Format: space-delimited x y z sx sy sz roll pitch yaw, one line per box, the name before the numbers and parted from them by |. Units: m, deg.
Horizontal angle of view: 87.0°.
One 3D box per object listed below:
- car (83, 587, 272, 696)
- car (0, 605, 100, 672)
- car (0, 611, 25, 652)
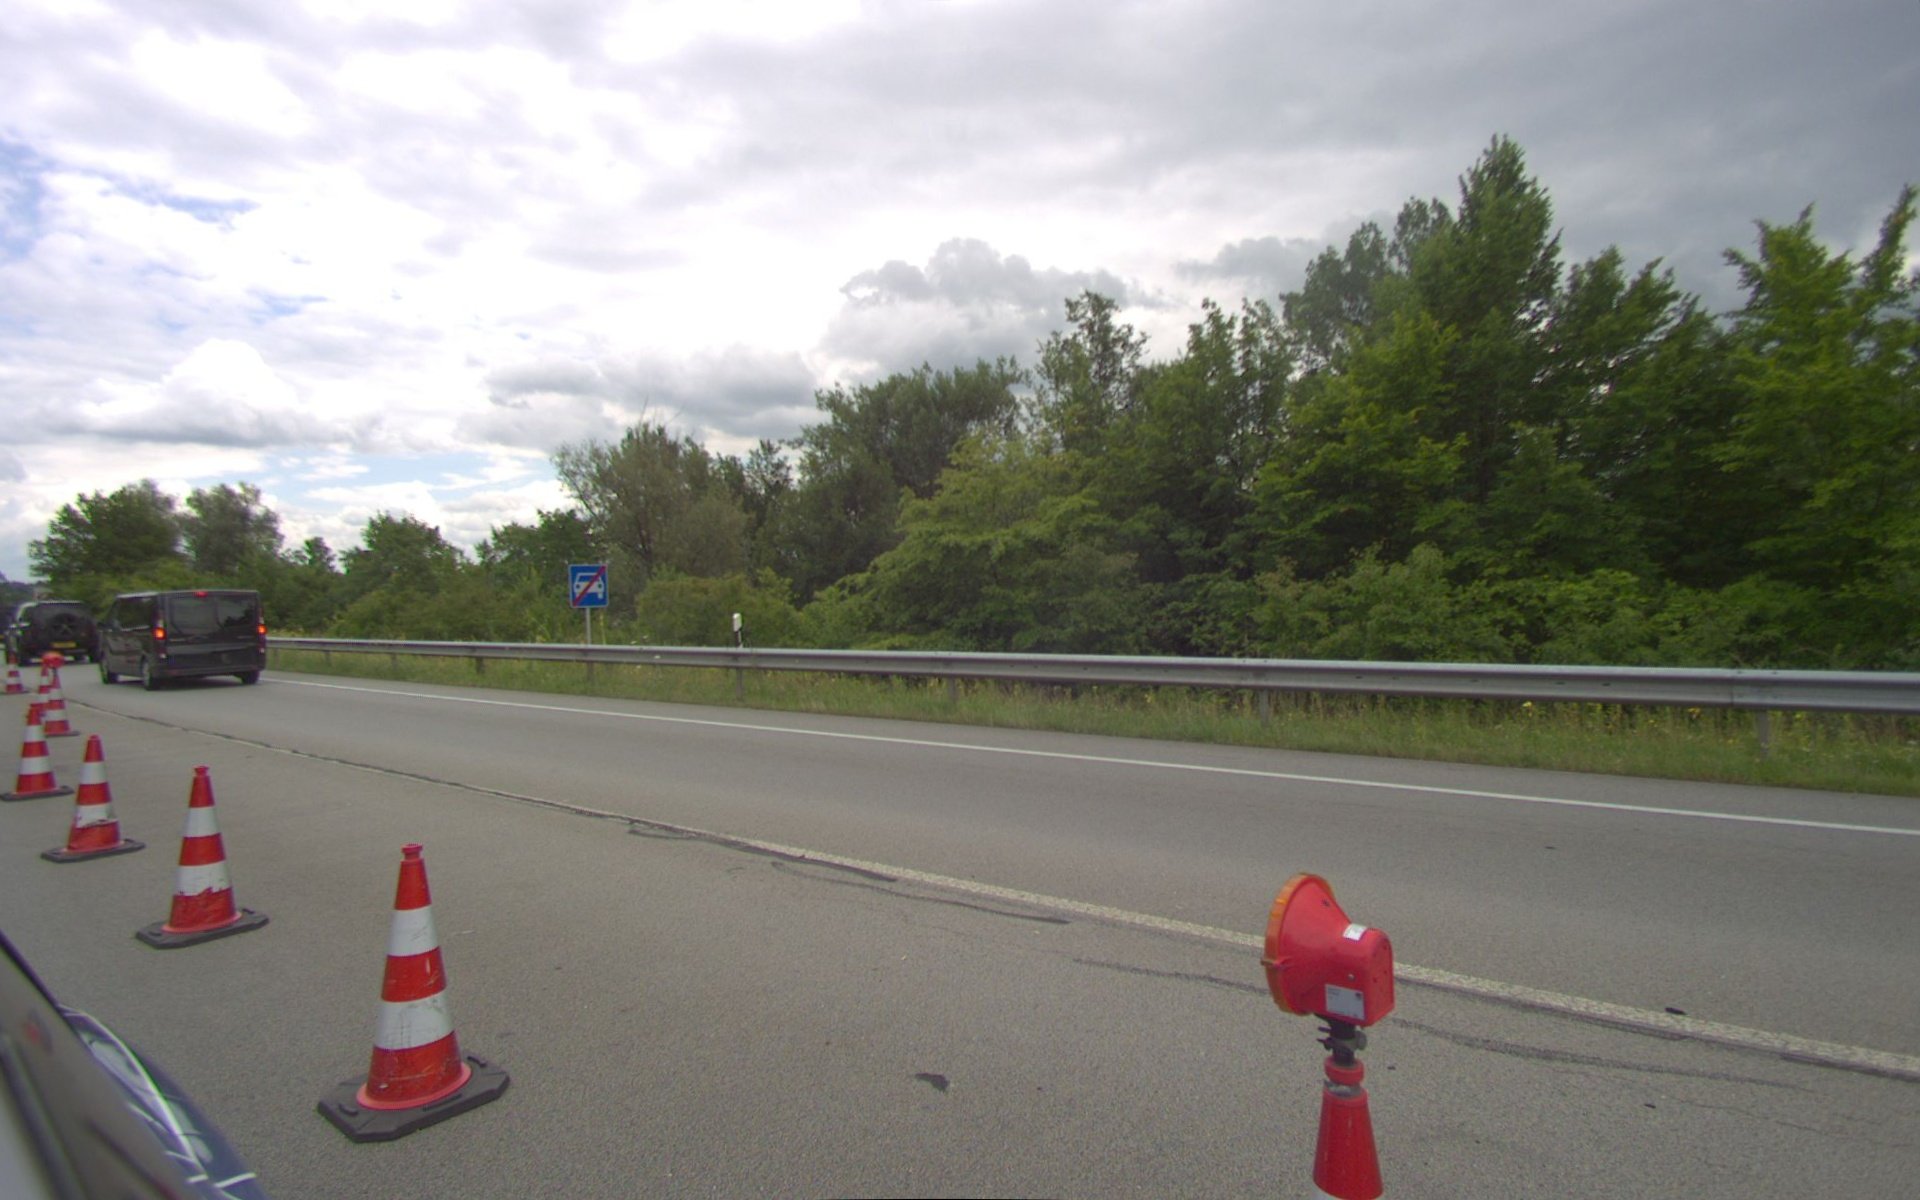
car | -16.452 0.800 21.165 5.310 2.002 2.009 -1 0 39
car | -28.194 1.156 31.276 4.532 1.898 1.945 -1 0 43
car | -45.207 1.465 47.270 4.532 1.844 1.904 -1 0 43
